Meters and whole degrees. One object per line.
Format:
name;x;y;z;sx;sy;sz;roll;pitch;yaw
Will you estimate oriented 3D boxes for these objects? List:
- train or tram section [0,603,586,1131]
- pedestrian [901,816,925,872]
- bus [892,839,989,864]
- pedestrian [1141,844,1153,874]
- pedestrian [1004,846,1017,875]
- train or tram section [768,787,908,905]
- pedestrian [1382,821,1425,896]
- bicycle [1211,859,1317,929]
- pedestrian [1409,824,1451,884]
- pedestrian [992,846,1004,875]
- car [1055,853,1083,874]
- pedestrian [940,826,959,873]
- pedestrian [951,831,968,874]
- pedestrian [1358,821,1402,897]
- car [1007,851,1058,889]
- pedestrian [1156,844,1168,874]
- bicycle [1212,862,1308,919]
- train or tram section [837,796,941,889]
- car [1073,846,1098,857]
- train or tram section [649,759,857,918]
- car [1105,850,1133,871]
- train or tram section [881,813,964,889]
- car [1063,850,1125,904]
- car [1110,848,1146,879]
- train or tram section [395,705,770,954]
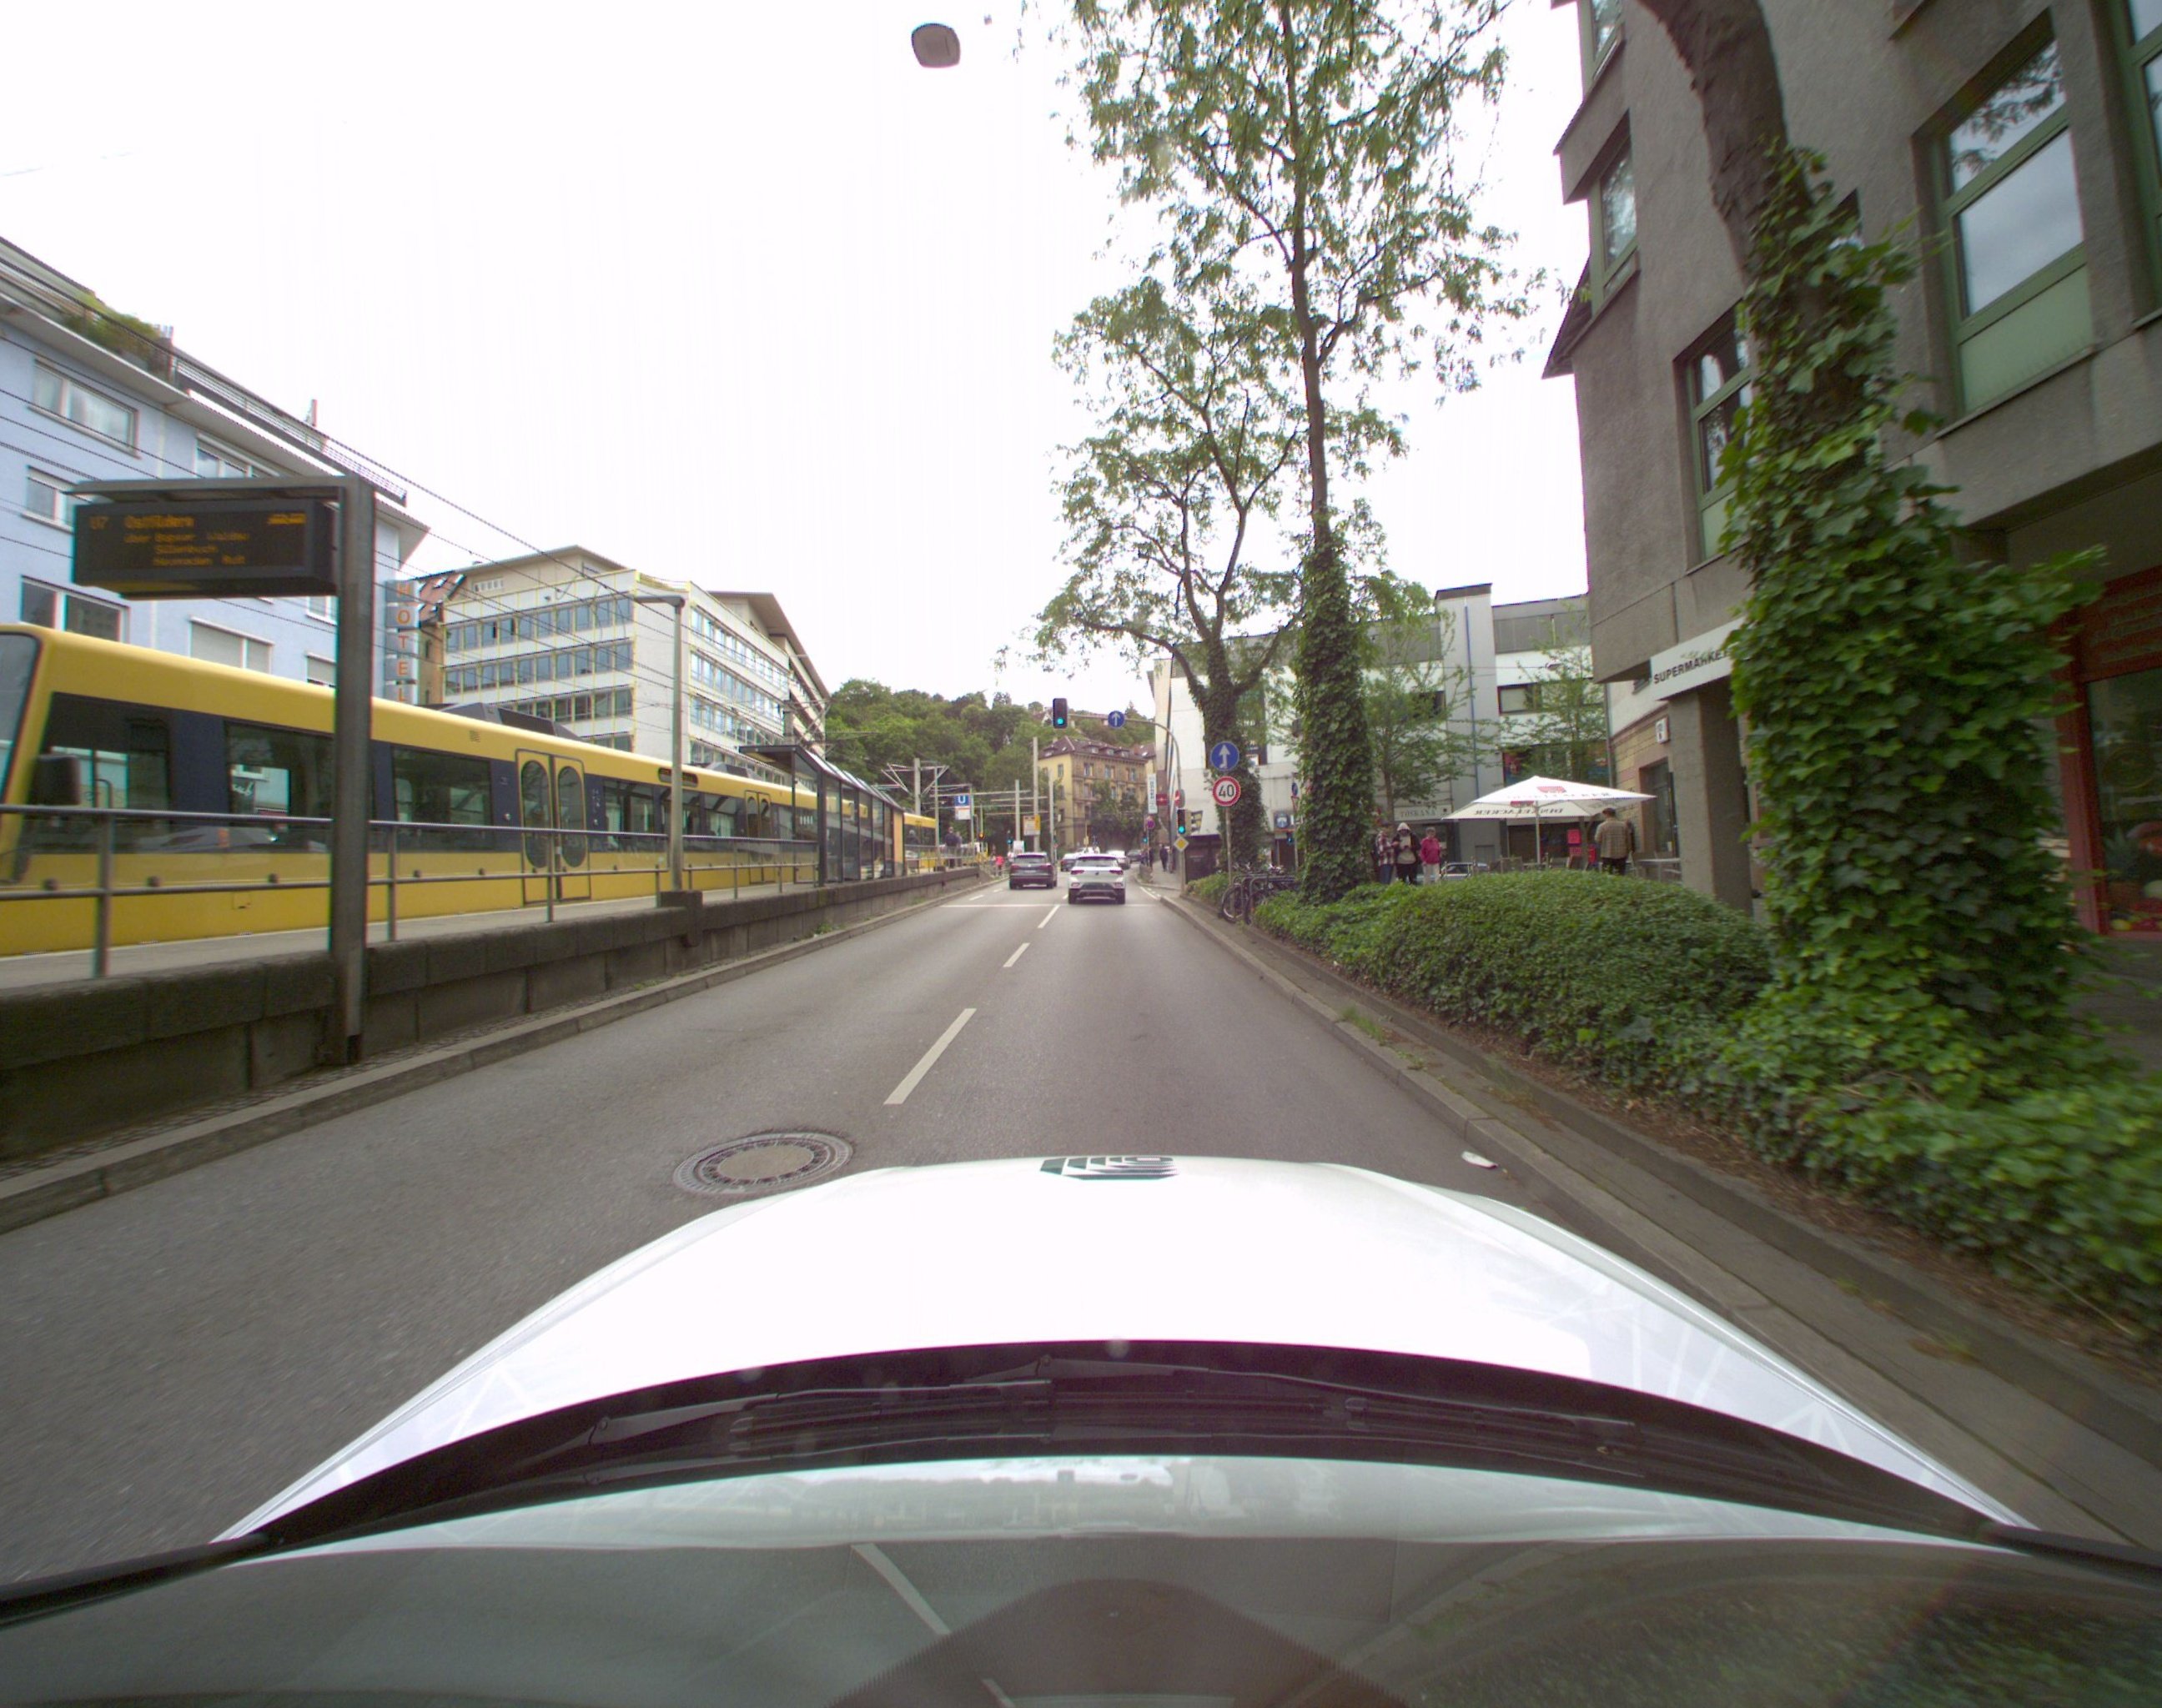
train or tram section;-8.833;0.138;8.700;2.803;3.666;6.752;0;-1;1
pedestrian;-6.125;-0.349;29.799;0.761;2.014;0.837;0;-2;-5
bus;-19.536;-0.292;112.955;13.171;3.065;3.399;-1;-2;19
pedestrian;4.541;0.357;55.838;0.758;2.014;0.840;-1;-2;7
pedestrian;-4.913;0.478;56.668;0.759;2.014;0.839;0;-2;2
train or tram section;-8.367;-0.207;29.010;2.803;3.666;6.752;0;-1;1
pedestrian;7.066;0.107;17.858;0.637;1.608;0.584;0;-2;-18
bicycle;3.419;0.750;15.281;1.868;1.266;0.767;-1;-2;13
pedestrian;8.014;0.008;18.714;0.637;1.369;0.584;0;-2;-18
pedestrian;-5.732;0.474;56.373;0.759;2.014;0.838;0;-2;2
car;-0.959;0.766;66.195;1.903;1.689;4.005;0;0;4
pedestrian;-5.715;-0.175;35.513;0.761;2.014;0.837;0;-2;-5
pedestrian;-5.868;-0.058;39.247;0.761;2.014;0.837;0;-2;-5
pedestrian;6.466;0.108;17.633;0.637;1.615;0.584;0;-2;-18
car;-2.169;0.691;37.685;1.986;1.636;4.001;-1;0;1
pedestrian;5.544;0.366;55.422;0.758;2.014;0.840;-1;-2;7
bicycle;3.652;0.755;16.768;1.870;1.137;0.810;-1;-2;8
train or tram section;-8.208;-0.406;35.762;2.803;3.666;6.752;0;-1;1
car;0.700;-0.321;124.780;1.893;1.689;4.025;0;0;36
train or tram section;-8.517;-0.313;22.223;2.803;3.666;6.752;0;-1;1
car;3.124;0.587;67.989;1.881;1.684;4.154;0;-2;-4
train or tram section;-8.111;-0.104;42.507;2.803;3.666;6.752;0;-1;1
car;0.481;0.704;26.441;1.830;1.584;4.159;-1;-1;3
car;2.579;0.566;45.512;1.877;1.684;4.162;0;-2;2
train or tram section;-8.686;-0.321;15.461;2.803;3.666;6.752;0;-1;1
